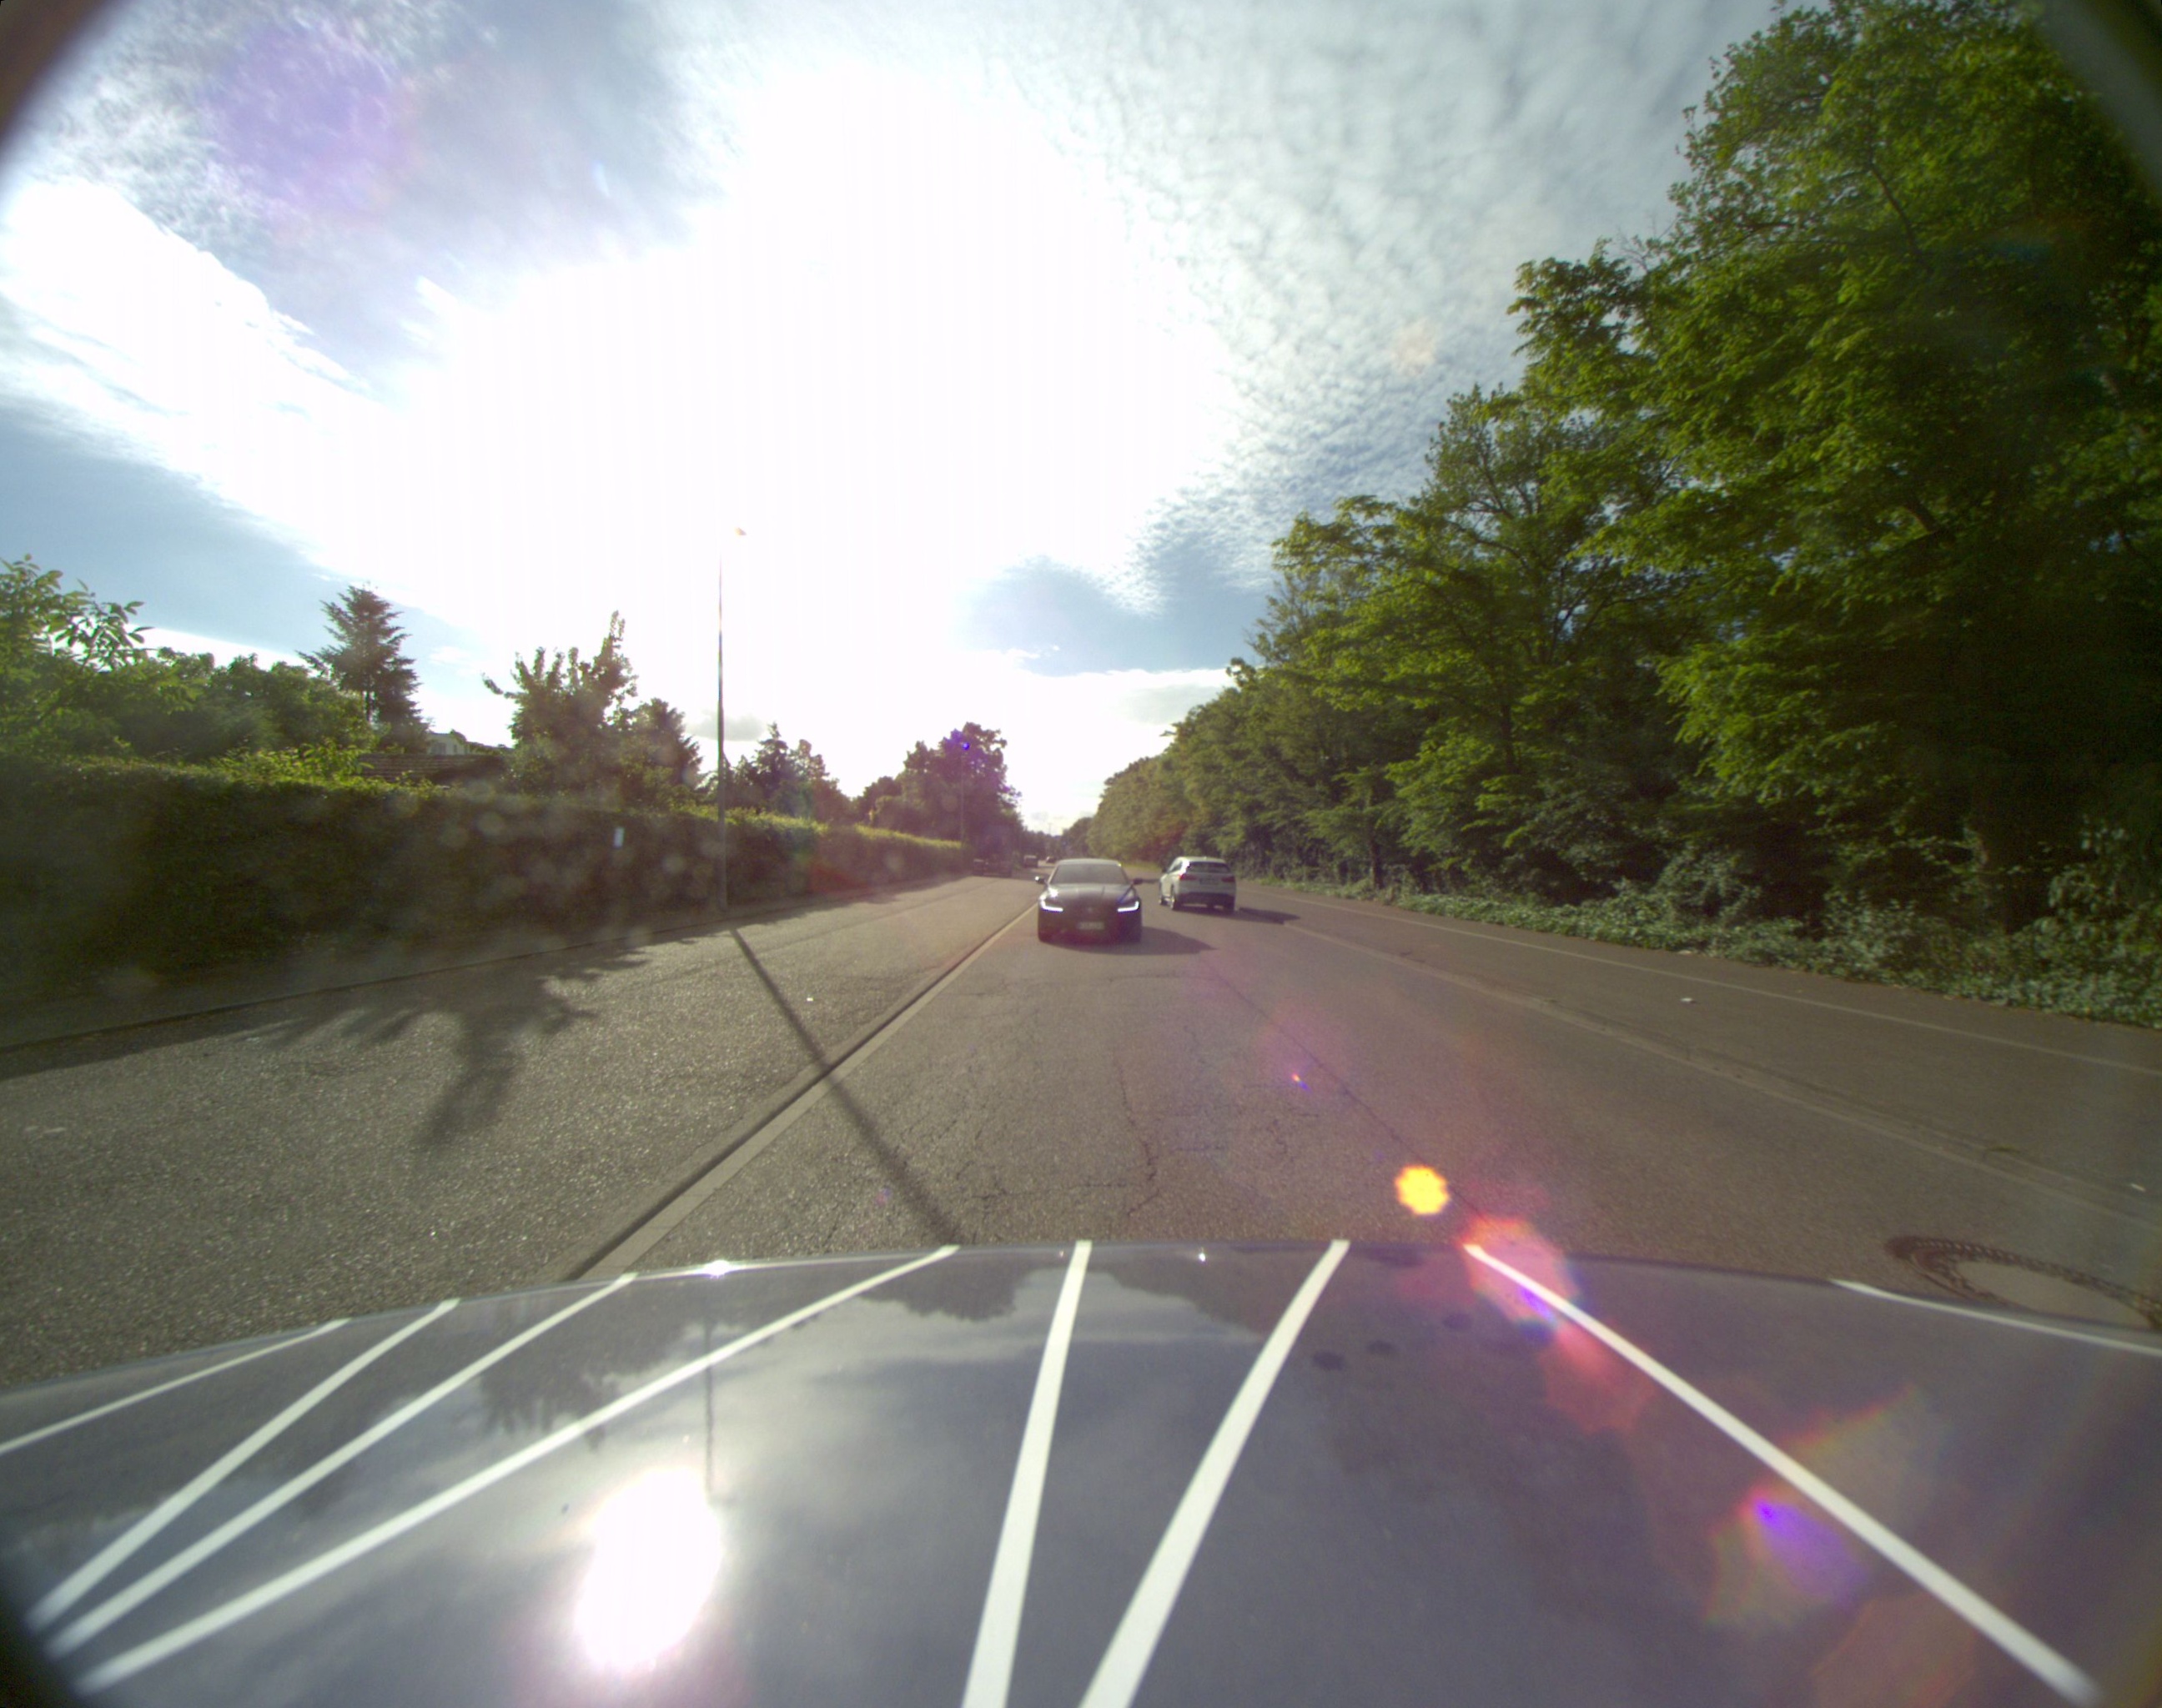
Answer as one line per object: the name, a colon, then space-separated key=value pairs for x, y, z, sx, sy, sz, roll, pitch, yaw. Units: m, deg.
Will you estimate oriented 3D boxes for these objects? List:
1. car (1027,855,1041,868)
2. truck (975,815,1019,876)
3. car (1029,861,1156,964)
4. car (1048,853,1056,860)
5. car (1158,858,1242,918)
car: x=-6.212 y=1.011 z=100.470 sx=1.751 sy=1.561 sz=3.860 roll=3 pitch=0 yaw=-3
truck: x=-5.913 y=-0.570 z=54.295 sx=2.603 sy=3.935 sz=6.281 roll=4 pitch=0 yaw=-4
car: x=0.252 y=0.918 z=13.983 sx=1.936 sy=1.501 sz=4.680 roll=0 pitch=0 yaw=2
car: x=-6.280 y=0.529 z=165.242 sx=1.751 sy=1.380 sz=3.860 roll=3 pitch=0 yaw=-3
car: x=3.565 y=0.980 z=23.458 sx=1.807 sy=1.576 sz=4.100 roll=2 pitch=1 yaw=-2
